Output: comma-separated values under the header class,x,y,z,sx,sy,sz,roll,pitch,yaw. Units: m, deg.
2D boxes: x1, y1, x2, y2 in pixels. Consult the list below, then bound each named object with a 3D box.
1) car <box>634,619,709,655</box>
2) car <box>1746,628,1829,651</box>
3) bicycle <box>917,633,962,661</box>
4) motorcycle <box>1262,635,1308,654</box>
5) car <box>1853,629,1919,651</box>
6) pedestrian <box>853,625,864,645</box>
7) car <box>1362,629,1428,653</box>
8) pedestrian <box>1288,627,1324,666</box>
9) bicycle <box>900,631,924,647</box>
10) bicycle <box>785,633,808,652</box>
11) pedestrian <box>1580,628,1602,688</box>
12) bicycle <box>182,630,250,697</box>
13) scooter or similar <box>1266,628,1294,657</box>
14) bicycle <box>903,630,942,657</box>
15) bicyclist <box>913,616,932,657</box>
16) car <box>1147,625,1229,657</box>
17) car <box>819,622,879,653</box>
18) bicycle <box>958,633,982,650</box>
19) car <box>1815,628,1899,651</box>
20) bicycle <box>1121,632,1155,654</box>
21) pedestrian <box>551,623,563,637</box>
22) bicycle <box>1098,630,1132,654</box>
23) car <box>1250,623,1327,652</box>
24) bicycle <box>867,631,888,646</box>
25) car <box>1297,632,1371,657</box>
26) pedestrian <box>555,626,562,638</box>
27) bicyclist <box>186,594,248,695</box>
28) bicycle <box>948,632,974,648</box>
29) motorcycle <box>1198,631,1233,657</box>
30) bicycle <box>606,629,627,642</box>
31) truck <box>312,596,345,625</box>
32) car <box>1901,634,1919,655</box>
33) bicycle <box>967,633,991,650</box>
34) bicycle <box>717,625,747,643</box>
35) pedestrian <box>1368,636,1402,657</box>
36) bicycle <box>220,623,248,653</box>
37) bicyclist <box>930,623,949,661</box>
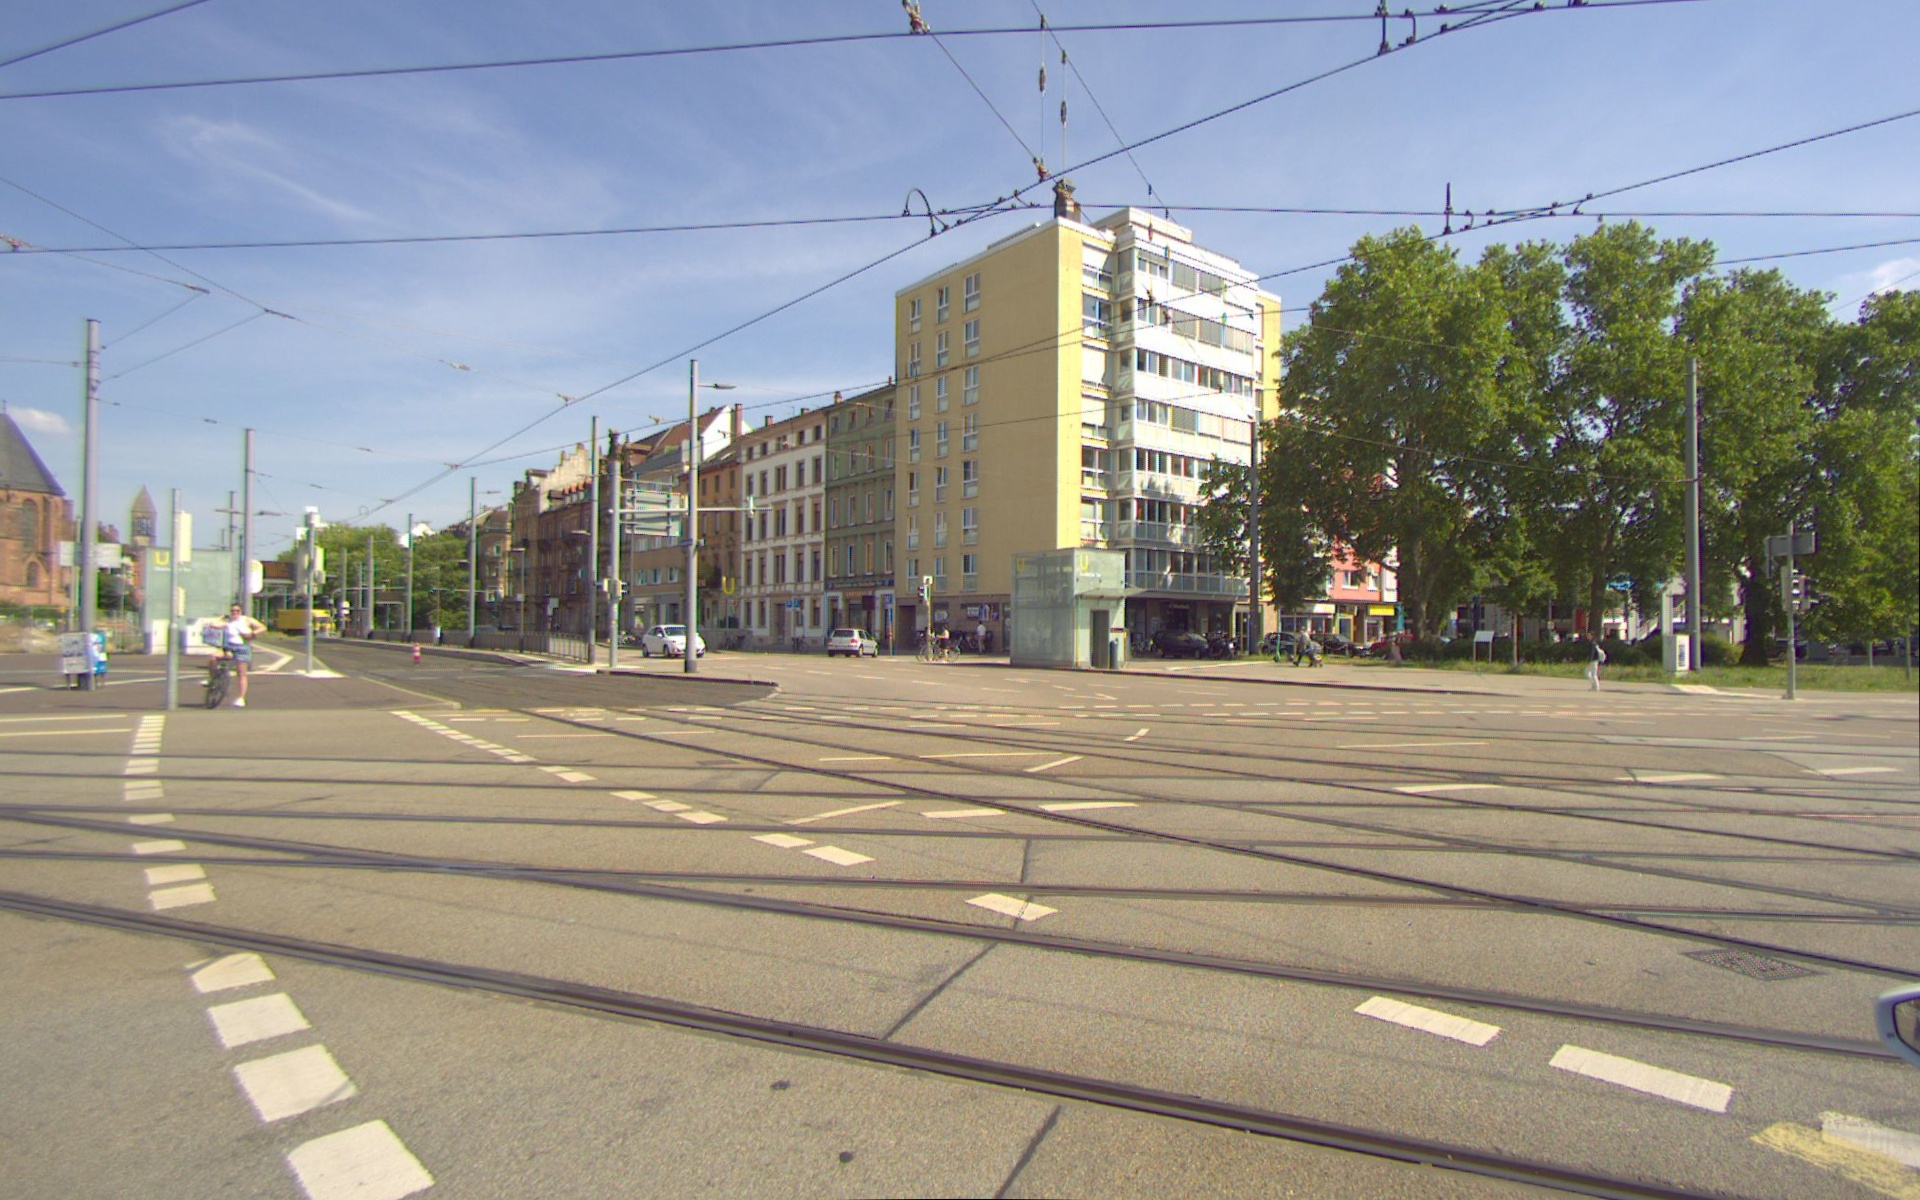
class,x,y,z,sx,sy,sz,roll,pitch,yaw
car,-12.724,1.584,44.202,1.744,1.417,4.080,-3,1,-38
car,57.500,2.733,69.857,1.970,1.390,3.980,2,0,-21
bicycle,-0.860,1.993,42.822,1.770,1.145,0.751,2,-2,-21
motorcycle,15.224,2.092,47.062,1.997,0.853,0.641,0,-1,13
car,66.160,2.813,71.075,1.971,1.528,3.979,1,-1,-22
pedestrian,-6.902,2.383,68.219,0.522,1.392,0.639,1,-1,-38
car,29.017,2.741,67.059,1.727,1.358,3.696,2,0,-37
pedestrian,13.232,1.758,38.418,0.652,1.423,1.103,1,1,-42
bicycle,-3.016,2.413,62.685,0.579,0.977,1.760,-2,0,-38
bicycle,-10.011,2.612,61.345,0.578,1.109,1.801,-2,0,-37
pedestrian,17.684,1.611,28.143,0.447,1.626,0.399,2,1,33
bicycle,-12.905,1.089,17.472,0.743,1.098,1.834,2,-3,-31
scooter or similar,13.025,1.732,40.904,0.508,1.134,1.362,1,-1,-10
bicycle,-1.637,1.921,44.206,1.785,1.145,0.576,3,-3,-44
bicyclist,-1.639,1.608,44.035,0.613,1.757,0.576,3,-3,-44
car,11.901,2.125,52.688,1.645,1.489,4.050,5,-4,-37
car,-5.630,1.958,51.573,1.777,1.458,4.004,1,-3,13
bicycle,0.537,2.338,57.302,0.577,0.928,1.743,0,-1,-30
car,63.157,2.759,70.775,1.971,1.528,3.979,1,-1,-22
bicycle,9.094,2.179,51.382,1.734,1.100,0.580,0,-1,-28
pedestrian,-40.556,3.015,101.012,0.942,1.342,0.813,1,-2,-40
bicycle,8.063,2.185,52.179,1.734,1.235,0.580,1,-1,-28
car,19.338,2.179,59.289,1.873,1.459,3.958,2,0,-37
bicycle,-5.439,2.517,65.969,0.410,0.977,1.760,-2,0,-38
car,23.012,2.713,61.844,1.727,1.287,3.958,2,0,-37
pedestrian,-46.584,3.713,116.490,0.531,1.426,0.485,1,1,-44
bicyclist,-12.903,0.774,17.463,0.743,1.706,0.770,2,-3,-31
bicycle,0.058,2.315,58.728,0.578,0.928,1.738,0,-1,-37
motorcycle,11.189,1.915,44.093,0.629,1.076,2.033,1,-1,-13
bicycle,-26.446,2.727,77.274,1.452,0.989,0.411,2,1,-38
truck,-78.076,1.333,124.102,2.529,3.342,8.930,-1,0,-38
car,59.714,2.759,61.016,3.934,1.261,1.993,2,0,-16
bicycle,1.074,2.356,57.451,0.577,0.928,1.743,0,-1,-30
bicycle,-14.137,2.128,62.242,1.733,1.109,0.591,2,-1,-38
pedestrian,18.863,2.069,44.604,0.816,0.904,1.163,1,-1,-40
bicycle,-28.023,1.459,38.802,0.407,1.085,1.656,0,1,-19
bicyclist,-0.864,1.774,42.763,0.604,1.593,0.730,2,-2,-20
